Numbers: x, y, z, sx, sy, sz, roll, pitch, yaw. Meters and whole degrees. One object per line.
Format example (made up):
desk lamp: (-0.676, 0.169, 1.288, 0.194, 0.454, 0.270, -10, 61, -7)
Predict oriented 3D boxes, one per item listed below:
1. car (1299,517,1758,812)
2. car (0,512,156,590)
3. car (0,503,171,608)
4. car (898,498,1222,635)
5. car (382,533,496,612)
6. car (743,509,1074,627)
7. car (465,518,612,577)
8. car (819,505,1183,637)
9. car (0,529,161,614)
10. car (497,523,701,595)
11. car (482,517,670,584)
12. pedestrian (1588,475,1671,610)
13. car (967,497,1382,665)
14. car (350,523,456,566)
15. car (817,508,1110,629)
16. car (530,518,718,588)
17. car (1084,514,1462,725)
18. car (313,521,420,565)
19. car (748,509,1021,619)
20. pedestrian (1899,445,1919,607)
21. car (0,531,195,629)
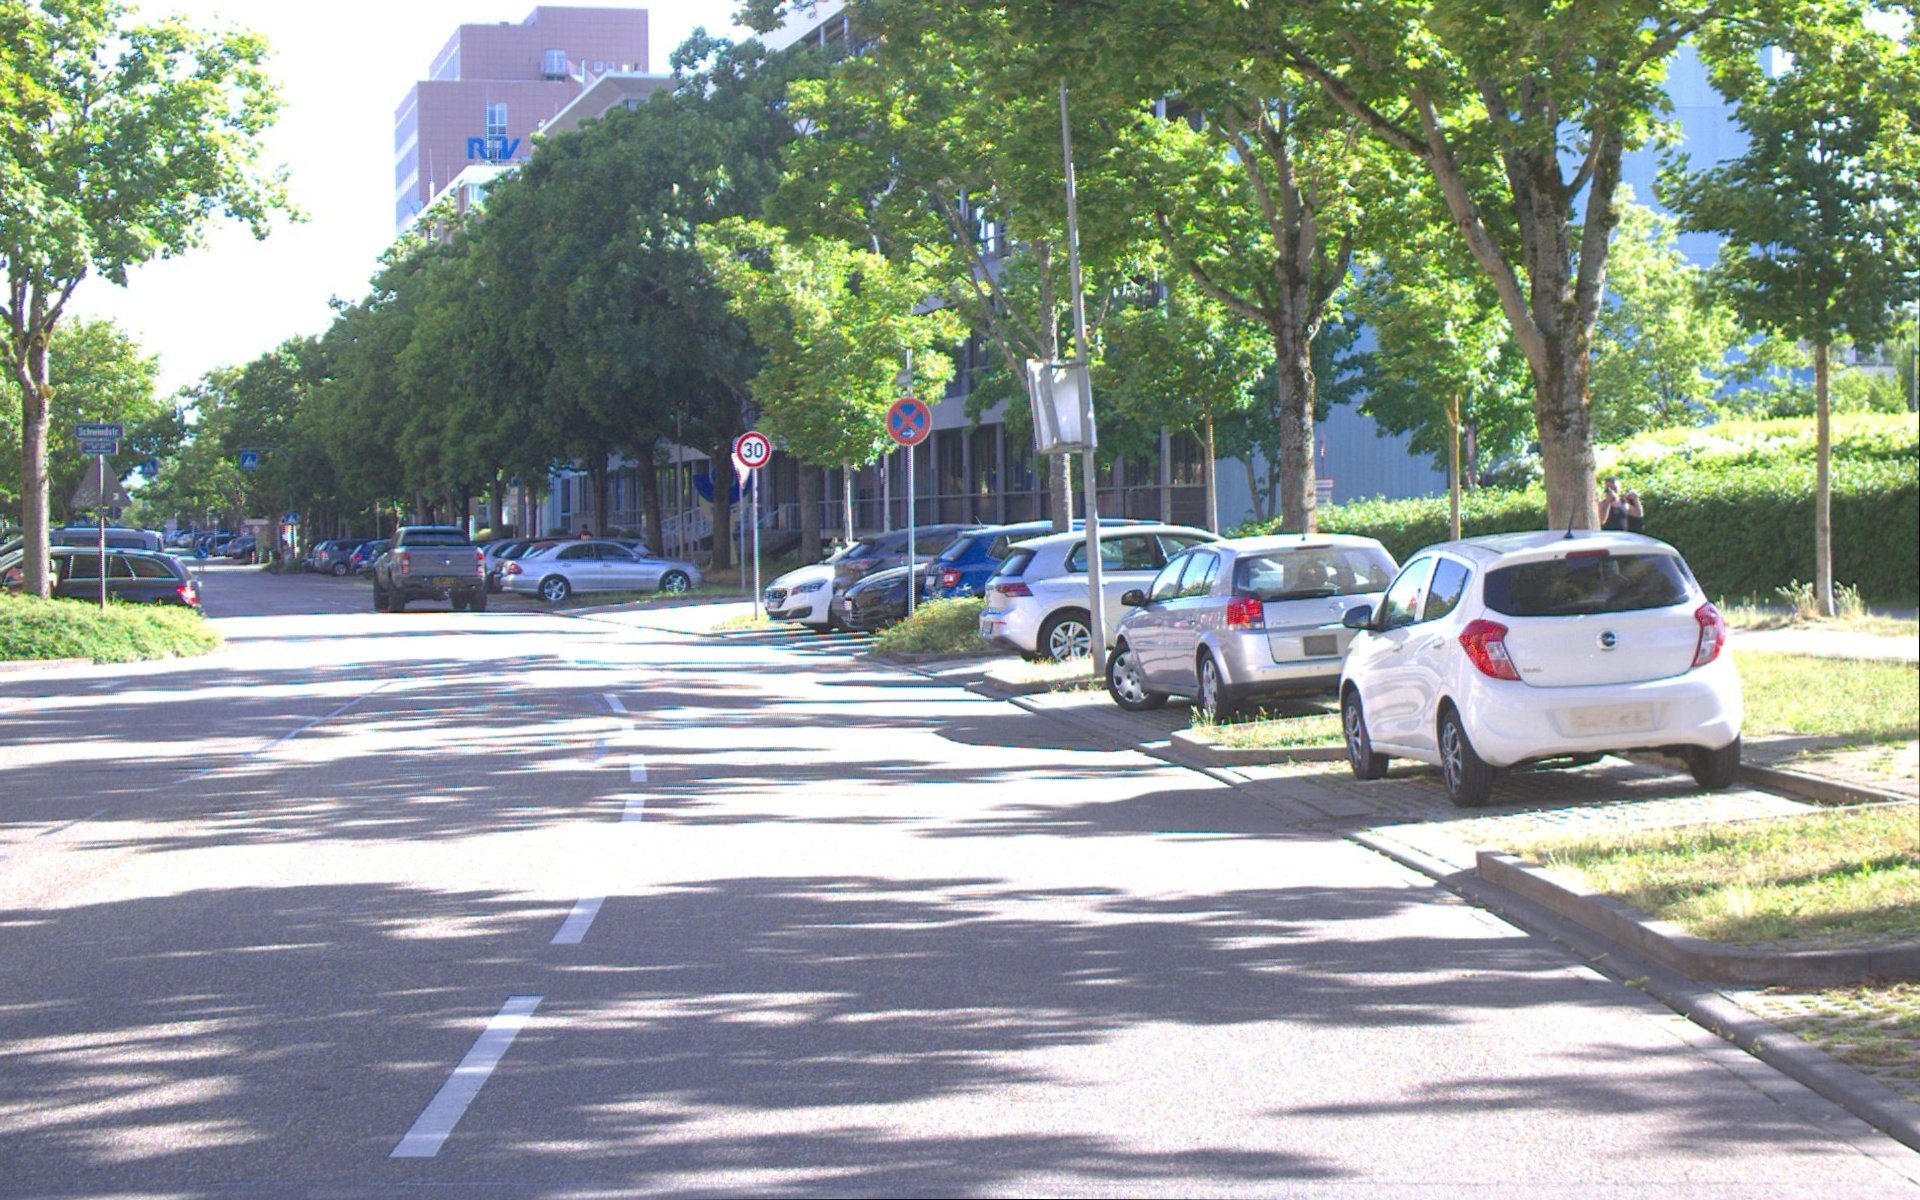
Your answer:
car: (3.263, 0.306, 20.430, 1.643, 1.488, 3.766, -4, 2, -6)
car: (-24.629, -1.371, 95.311, 4.487, 2.082, 2.083, 1, 1, -12)
car: (-16.132, -0.802, 61.477, 3.890, 1.805, 1.786, 1, 1, -14)
car: (1.283, -0.440, 44.692, 3.804, 1.443, 1.745, -5, 1, -12)
car: (-11.160, -0.599, 73.413, 1.993, 1.634, 4.001, 1, 1, -14)
car: (-0.791, -0.494, 52.286, 4.548, 1.509, 1.983, -4, 1, -20)
car: (-11.761, -1.462, 95.992, 3.742, 1.488, 1.617, -3, 2, -20)
car: (0.532, -0.410, 47.340, 4.548, 1.509, 2.159, -4, 1, -13)
car: (-15.776, -0.503, 59.187, 3.890, 1.419, 1.740, 1, 1, -14)
car: (-8.573, -0.987, 81.521, 4.577, 1.470, 1.747, -3, 2, -13)
car: (-10.020, -1.295, 89.717, 4.514, 1.537, 1.922, -3, 2, -18)
pedestrian: (7.817, -0.675, 40.171, 0.606, 1.537, 0.937, -1, 1, -12)
car: (2.255, -0.219, 36.714, 4.088, 1.424, 1.643, -5, 1, -7)
car: (-21.948, -2.184, 135.481, 3.948, 1.509, 1.813, -3, 2, -13)
car: (0.033, -0.462, 49.845, 3.874, 1.509, 1.751, -4, 1, -13)
car: (-8.462, -1.196, 86.464, 4.514, 1.537, 1.922, -3, 2, -10)
car: (2.476, 0.107, 28.467, 1.808, 1.488, 4.625, -4, 2, -11)
car: (-25.761, -2.487, 149.201, 4.350, 1.698, 1.813, -3, 2, -17)
car: (-1.207, -0.580, 54.871, 3.947, 1.509, 1.702, -4, 1, -20)
pedestrian: (9.740, -0.727, 33.634, 0.723, 1.582, 0.853, -1, 1, -12)
car: (-13.751, -0.322, 51.791, 4.261, 1.419, 1.740, 1, 1, -10)
